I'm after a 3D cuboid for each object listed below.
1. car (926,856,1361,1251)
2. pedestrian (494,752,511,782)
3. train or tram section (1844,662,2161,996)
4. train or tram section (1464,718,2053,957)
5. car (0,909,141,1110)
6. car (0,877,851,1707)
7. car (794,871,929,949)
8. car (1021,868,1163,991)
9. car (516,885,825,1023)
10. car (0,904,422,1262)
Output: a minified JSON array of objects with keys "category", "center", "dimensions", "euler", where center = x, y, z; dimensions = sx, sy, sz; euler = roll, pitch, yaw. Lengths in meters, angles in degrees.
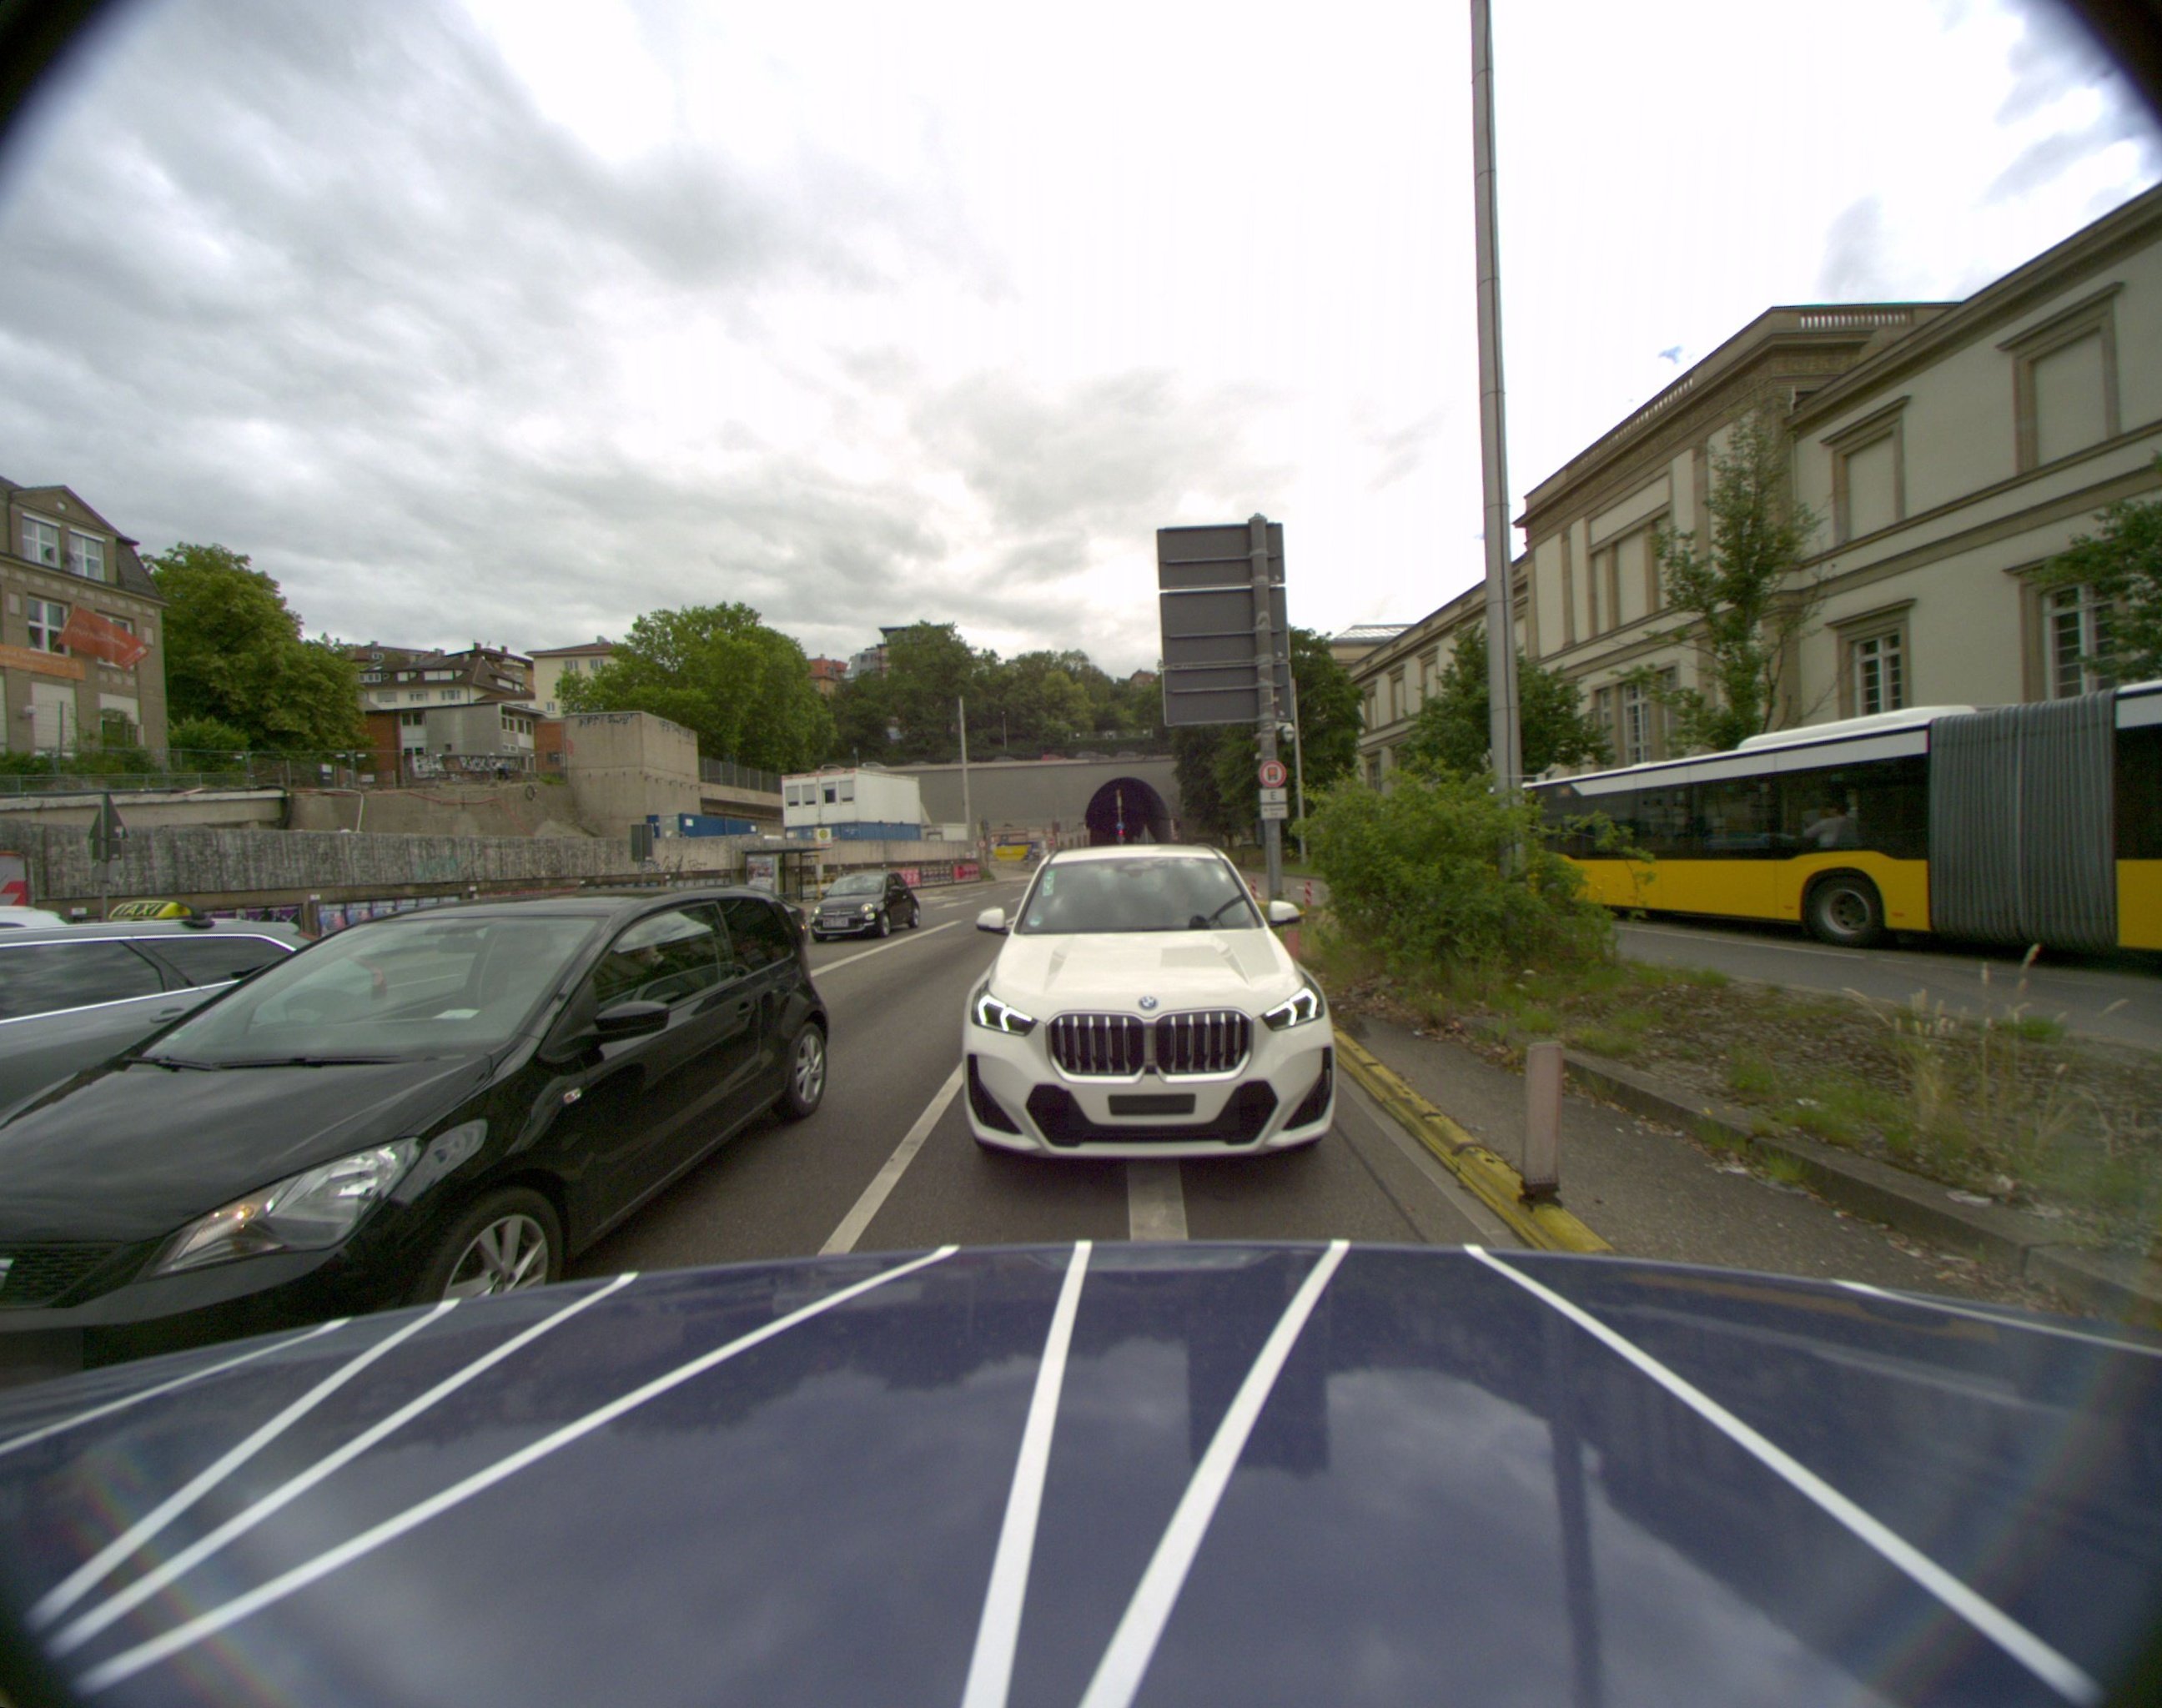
[{"category":"car","center":[0.342,0.854,5.123],"dimensions":[1.756,1.547,3.911],"euler":[-2,1,3]},{"category":"pedestrian","center":[-36.682,-5.526,48.196],"dimensions":[0.554,1.784,0.570],"euler":[-2,1,12]},{"category":"train or tram section","center":[11.249,-0.248,5.192],"dimensions":[2.700,3.053,9.336],"euler":[-1,0,0]},{"category":"train or tram section","center":[11.157,-0.219,14.518],"dimensions":[2.701,3.053,9.375],"euler":[-1,0,-1]},{"category":"car","center":[-9.147,1.264,4.580],"dimensions":[1.826,1.457,4.073],"euler":[-2,1,0]},{"category":"car","center":[-2.526,0.984,3.275],"dimensions":[1.661,1.547,3.911],"euler":[-2,1,3]},{"category":"car","center":[-4.906,1.201,17.542],"dimensions":[1.720,1.450,3.782],"euler":[-3,0,4]},{"category":"car","center":[0.225,0.997,11.599],"dimensions":[1.756,1.427,3.911],"euler":[-2,0,3]},{"category":"car","center":[-5.396,1.232,10.761],"dimensions":[1.826,1.356,4.219],"euler":[-2,0,4]},{"category":"car","center":[-5.821,1.148,3.455],"dimensions":[1.826,1.457,4.217],"euler":[-2,1,2]}]
